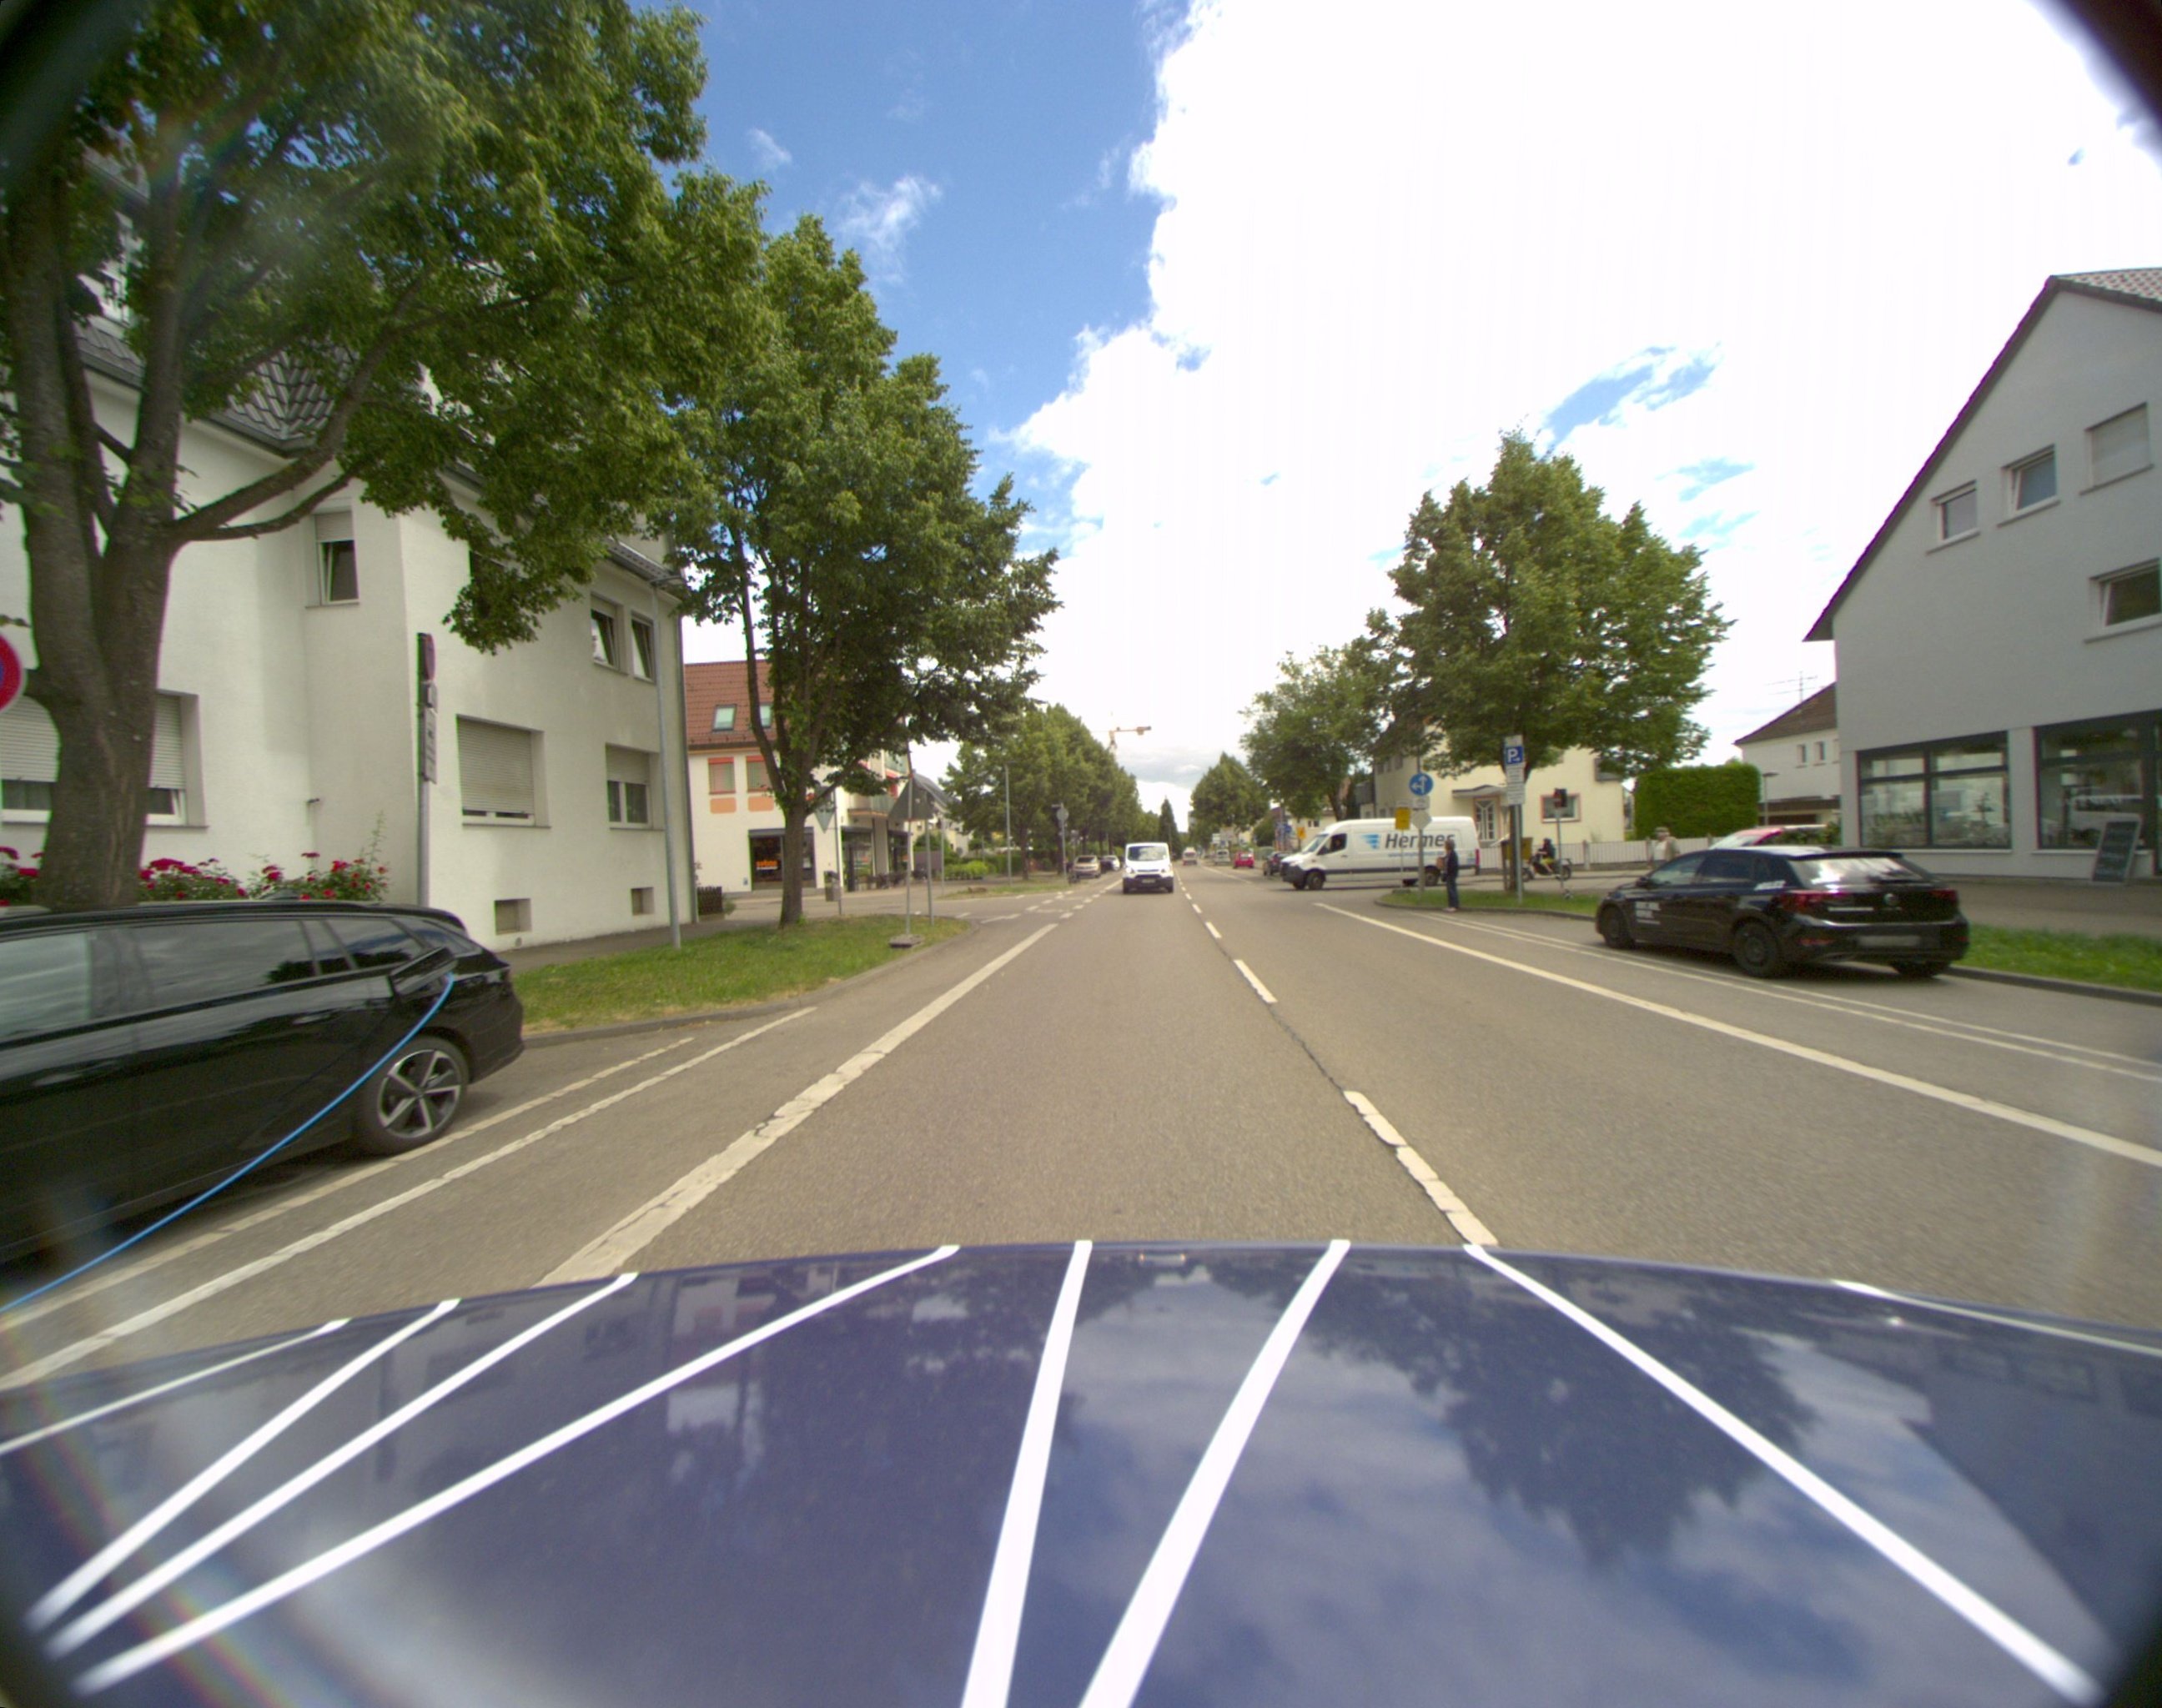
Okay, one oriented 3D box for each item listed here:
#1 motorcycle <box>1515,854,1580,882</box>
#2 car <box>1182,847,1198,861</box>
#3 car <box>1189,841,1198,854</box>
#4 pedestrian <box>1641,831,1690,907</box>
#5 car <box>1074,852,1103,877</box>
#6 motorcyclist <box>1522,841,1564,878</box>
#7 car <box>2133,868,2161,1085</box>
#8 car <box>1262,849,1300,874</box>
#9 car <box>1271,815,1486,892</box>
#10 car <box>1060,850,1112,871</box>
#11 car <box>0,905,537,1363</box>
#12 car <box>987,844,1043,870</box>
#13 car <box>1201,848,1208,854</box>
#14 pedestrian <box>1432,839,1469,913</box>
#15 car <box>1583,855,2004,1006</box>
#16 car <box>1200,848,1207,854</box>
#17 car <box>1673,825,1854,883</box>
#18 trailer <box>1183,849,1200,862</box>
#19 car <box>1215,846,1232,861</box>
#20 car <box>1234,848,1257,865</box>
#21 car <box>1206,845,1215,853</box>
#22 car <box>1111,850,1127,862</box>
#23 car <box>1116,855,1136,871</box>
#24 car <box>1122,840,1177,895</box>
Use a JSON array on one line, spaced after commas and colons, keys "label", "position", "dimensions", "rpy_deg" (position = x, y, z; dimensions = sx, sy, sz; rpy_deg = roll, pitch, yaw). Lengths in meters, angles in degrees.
[{"label": "motorcycle", "position": [17.779, 0.532, 28.992], "dimensions": [2.117, 1.025, 0.481], "rpy_deg": [-2, 1, 4]}, {"label": "car", "position": [14.899, 0.025, 104.018], "dimensions": [1.970, 1.820, 4.821], "rpy_deg": [-2, 0, 6]}, {"label": "car", "position": [24.921, -1.387, 168.512], "dimensions": [2.023, 2.658, 5.809], "rpy_deg": [-2, 0, 8]}, {"label": "pedestrian", "position": [12.354, 0.312, 16.081], "dimensions": [0.431, 1.543, 0.806], "rpy_deg": [-2, 1, 6]}, {"label": "car", "position": [0.555, 0.669, 51.826], "dimensions": [1.726, 1.571, 4.062], "rpy_deg": [-2, 0, 4]}, {"label": "motorcyclist", "position": [17.619, 0.192, 29.009], "dimensions": [1.108, 1.357, 0.754], "rpy_deg": [-2, 1, 5]}, {"label": "car", "position": [7.554, 0.790, 2.801], "dimensions": [1.717, 1.398, 4.302], "rpy_deg": [-2, 0, 8]}, {"label": "car", "position": [12.293, 0.435, 46.910], "dimensions": [1.734, 1.460, 4.303], "rpy_deg": [-1, 0, 7]}, {"label": "car", "position": [11.282, -0.014, 29.197], "dimensions": [7.307, 2.579, 2.220], "rpy_deg": [-2, 1, 0]}, {"label": "car", "position": [0.427, 0.517, 63.764], "dimensions": [4.227, 1.628, 1.693], "rpy_deg": [-1, 0, 1]}, {"label": "car", "position": [-4.680, 1.097, 2.797], "dimensions": [1.709, 1.446, 4.618], "rpy_deg": [-2, 0, 5]}, {"label": "car", "position": [-7.125, 0.316, 81.891], "dimensions": [5.727, 2.576, 1.998], "rpy_deg": [-2, 0, 2]}, {"label": "car", "position": [34.047, -0.828, 209.572], "dimensions": [1.664, 1.466, 3.748], "rpy_deg": [-2, 0, 6]}, {"label": "pedestrian", "position": [8.572, 0.505, 17.652], "dimensions": [0.543, 1.671, 0.751], "rpy_deg": [-3, -1, 14]}, {"label": "car", "position": [8.190, 0.752, 9.346], "dimensions": [1.646, 1.412, 4.021], "rpy_deg": [-1, 0, 5]}, {"label": "car", "position": [34.856, -0.882, 216.822], "dimensions": [1.664, 1.466, 3.748], "rpy_deg": [-2, 0, 6]}, {"label": "car", "position": [22.975, -0.035, 25.721], "dimensions": [4.357, 1.768, 1.872], "rpy_deg": [-1, 2, 3]}, {"label": "trailer", "position": [14.409, 0.166, 99.309], "dimensions": [1.942, 1.667, 4.690], "rpy_deg": [-2, 0, 6]}, {"label": "car", "position": [17.830, -0.047, 95.361], "dimensions": [1.774, 1.760, 4.554], "rpy_deg": [-2, 0, 8]}, {"label": "car", "position": [14.977, 0.215, 69.365], "dimensions": [1.688, 1.532, 4.134], "rpy_deg": [-2, 0, 8]}, {"label": "car", "position": [29.308, -1.121, 172.347], "dimensions": [1.750, 1.626, 4.050], "rpy_deg": [-3, 0, 7]}, {"label": "car", "position": [4.533, 0.254, 89.759], "dimensions": [1.656, 1.407, 4.178], "rpy_deg": [-1, 0, 6]}, {"label": "car", "position": [4.418, 0.880, 74.546], "dimensions": [1.809, 1.466, 4.813], "rpy_deg": [-2, 0, 5]}, {"label": "car", "position": [2.776, 0.513, 31.211], "dimensions": [1.998, 2.002, 5.051], "rpy_deg": [-2, 0, 4]}]
